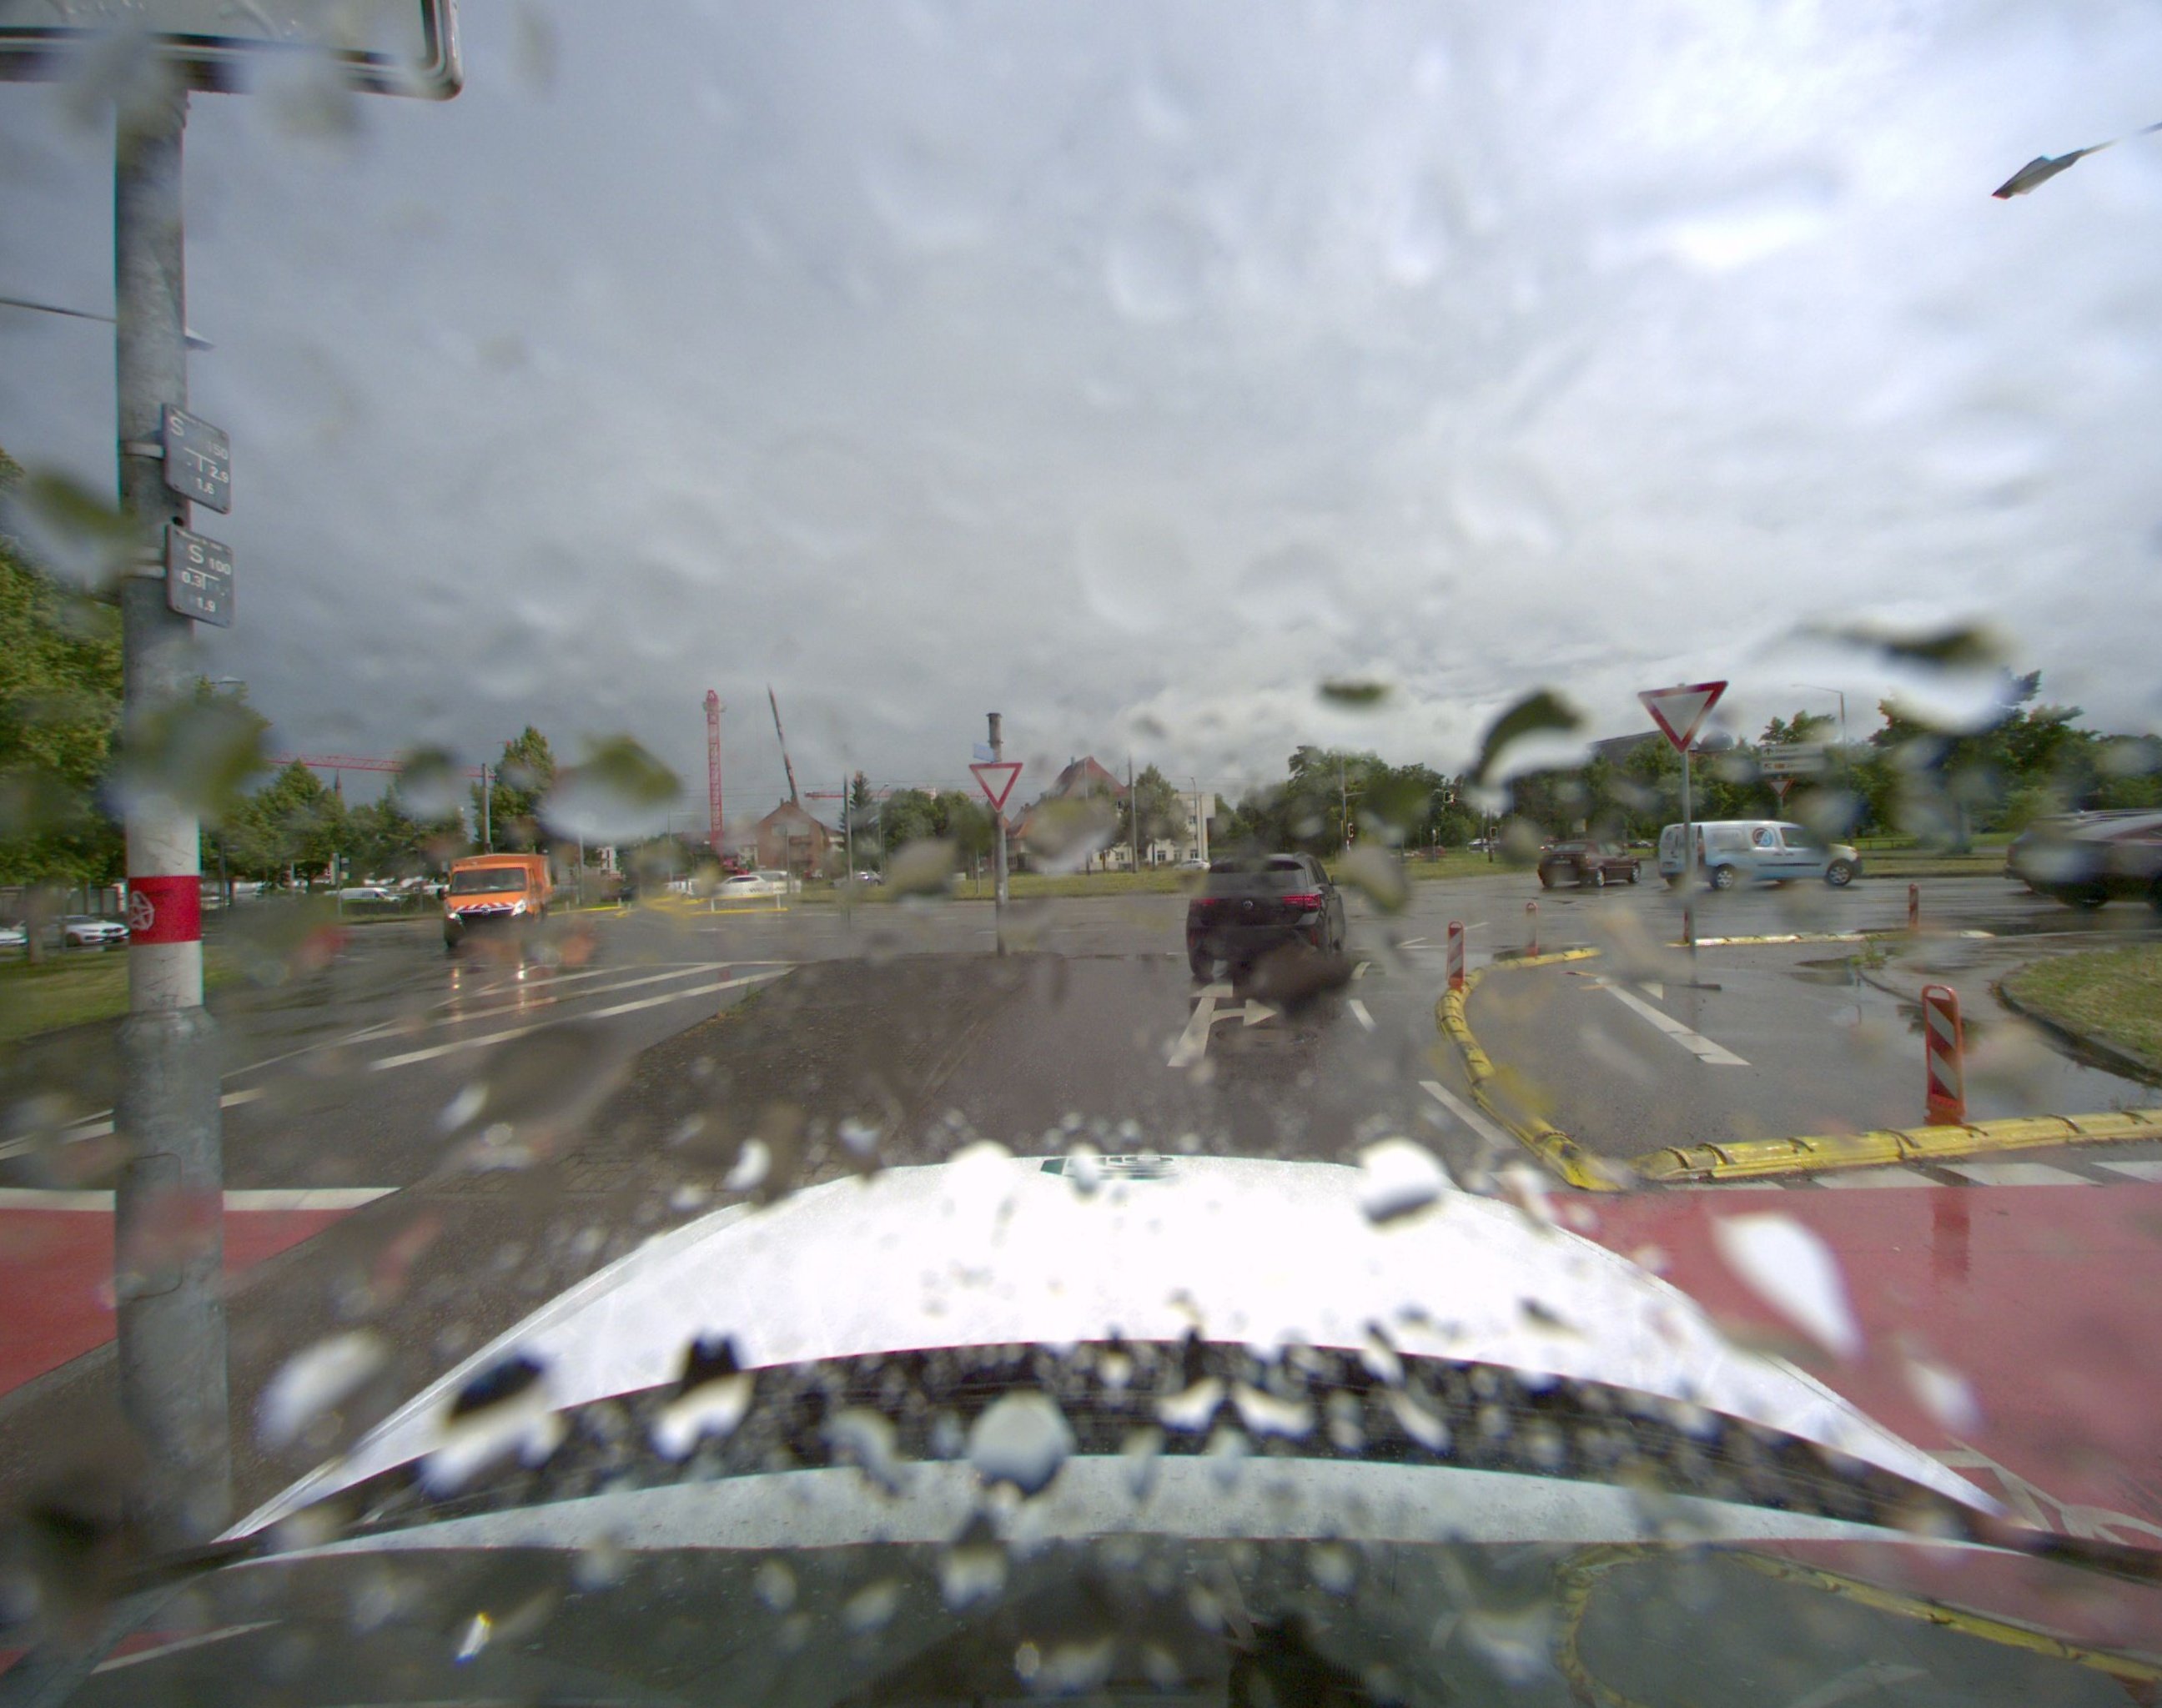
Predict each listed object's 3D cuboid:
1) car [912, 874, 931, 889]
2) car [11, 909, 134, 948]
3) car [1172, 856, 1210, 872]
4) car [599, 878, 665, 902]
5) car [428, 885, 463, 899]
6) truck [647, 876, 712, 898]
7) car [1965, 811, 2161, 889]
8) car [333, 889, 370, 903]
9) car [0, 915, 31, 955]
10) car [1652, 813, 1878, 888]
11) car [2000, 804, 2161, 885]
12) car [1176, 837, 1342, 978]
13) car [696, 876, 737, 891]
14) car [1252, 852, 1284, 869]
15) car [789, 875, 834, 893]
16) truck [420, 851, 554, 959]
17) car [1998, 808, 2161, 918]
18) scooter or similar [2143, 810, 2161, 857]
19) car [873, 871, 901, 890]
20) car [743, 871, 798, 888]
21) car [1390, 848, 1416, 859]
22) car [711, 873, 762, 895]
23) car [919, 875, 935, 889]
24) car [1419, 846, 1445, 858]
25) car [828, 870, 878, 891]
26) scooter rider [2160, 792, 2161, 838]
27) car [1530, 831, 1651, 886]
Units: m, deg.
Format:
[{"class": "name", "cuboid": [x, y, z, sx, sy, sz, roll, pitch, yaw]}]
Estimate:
[{"class": "car", "cuboid": [-18.224, 3.158, 93.026, 1.541, 1.560, 3.498, -2, -1, -1]}, {"class": "car", "cuboid": [-48.168, 3.551, 38.943, 3.874, 1.508, 1.729, -3, 0, 4]}, {"class": "car", "cuboid": [11.132, 1.036, 82.462, 3.455, 1.454, 1.560, -3, 0, 31]}, {"class": "car", "cuboid": [-32.928, 2.619, 59.888, 4.003, 1.517, 1.790, -3, 0, -22]}, {"class": "car", "cuboid": [-89.399, 5.403, 114.566, 3.576, 1.722, 1.500, -3, 0, 0]}, {"class": "truck", "cuboid": [-43.310, 3.550, 87.835, 6.041, 2.212, 2.405, -1, -1, 11]}, {"class": "car", "cuboid": [22.212, -0.109, 17.482, 3.952, 1.528, 1.820, -3, 0, 21]}, {"class": "car", "cuboid": [-95.810, 5.522, 106.926, 3.474, 1.560, 1.551, -3, 0, 3]}, {"class": "car", "cuboid": [-49.138, 3.713, 35.583, 4.433, 1.672, 1.870, -4, 0, 6]}, {"class": "car", "cuboid": [18.316, -0.093, 21.950, 4.523, 1.762, 1.867, -2, 0, -1]}, {"class": "car", "cuboid": [25.388, -0.277, 19.307, 4.271, 1.757, 2.053, -3, 0, 21]}, {"class": "car", "cuboid": [2.689, 0.627, 11.552, 1.882, 1.618, 4.018, -1, 0, 18]}, {"class": "car", "cuboid": [-42.509, 3.418, 95.036, 3.966, 1.700, 1.934, 0, -1, 7]}, {"class": "car", "cuboid": [25.205, 0.891, 109.841, 2.109, 2.057, 5.138, -3, 0, -13]}, {"class": "car", "cuboid": [-28.291, 3.148, 85.671, 1.974, 1.684, 4.026, -3, 0, 36]}, {"class": "truck", "cuboid": [-17.775, 1.422, 24.769, 2.469, 2.726, 6.878, -2, 0, -30]}, {"class": "car", "cuboid": [18.319, 0.048, 13.056, 4.450, 1.657, 1.883, -3, 0, 16]}, {"class": "scooter or similar", "cuboid": [46.855, -0.898, 34.569, 1.224, 2.014, 3.430, -1, -1, 36]}, {"class": "car", "cuboid": [-18.648, 2.518, 78.233, 1.787, 1.585, 3.997, -2, 0, -2]}, {"class": "car", "cuboid": [-38.766, 3.133, 101.608, 6.205, 2.085, 2.049, -1, -1, 11]}, {"class": "car", "cuboid": [45.535, -0.096, 115.207, 1.642, 1.462, 3.593, -2, -1, -14]}, {"class": "car", "cuboid": [-26.404, 2.263, 62.464, 3.508, 1.510, 1.486, -2, 0, -28]}, {"class": "car", "cuboid": [-19.071, 3.487, 101.025, 1.593, 1.560, 3.542, -2, 0, -6]}, {"class": "car", "cuboid": [50.326, -0.253, 116.835, 1.646, 1.510, 3.635, -2, -1, -11]}, {"class": "car", "cuboid": [-19.007, 2.178, 67.899, 3.699, 1.560, 1.555, -2, 0, -43]}, {"class": "scooter rider", "cuboid": [47.495, -1.708, 35.285, 0.697, 2.014, 0.775, -1, -1, 38]}, {"class": "car", "cuboid": [15.853, 0.127, 25.290, 4.017, 1.462, 1.701, -3, 0, -35]}]
